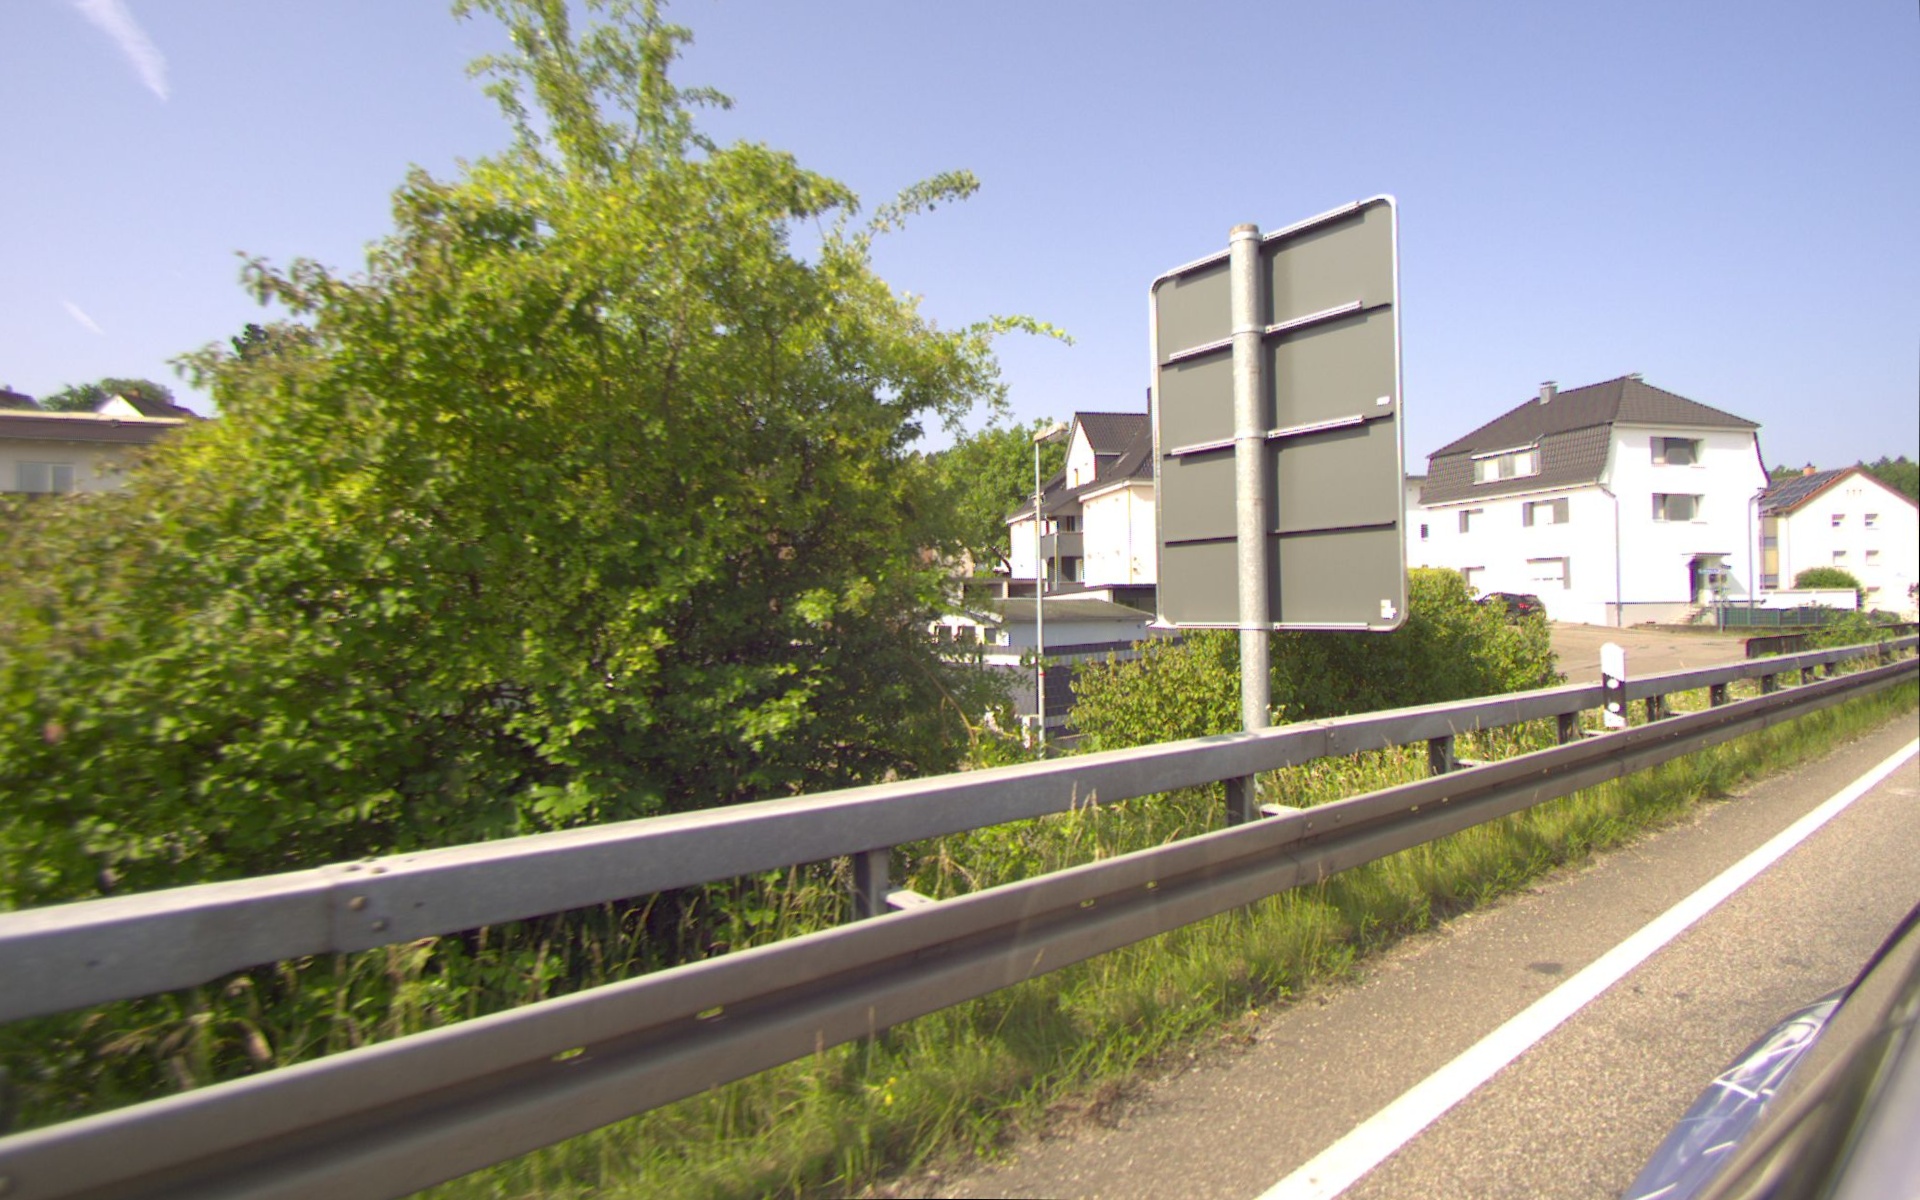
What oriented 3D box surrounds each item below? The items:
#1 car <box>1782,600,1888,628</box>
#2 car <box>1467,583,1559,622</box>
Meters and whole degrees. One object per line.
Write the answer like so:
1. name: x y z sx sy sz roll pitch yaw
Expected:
1. car: 50.168 0.792 58.158 1.719 1.365 4.619 2 2 -7
2. car: 28.071 0.085 51.497 1.959 1.683 4.010 -3 4 -11
